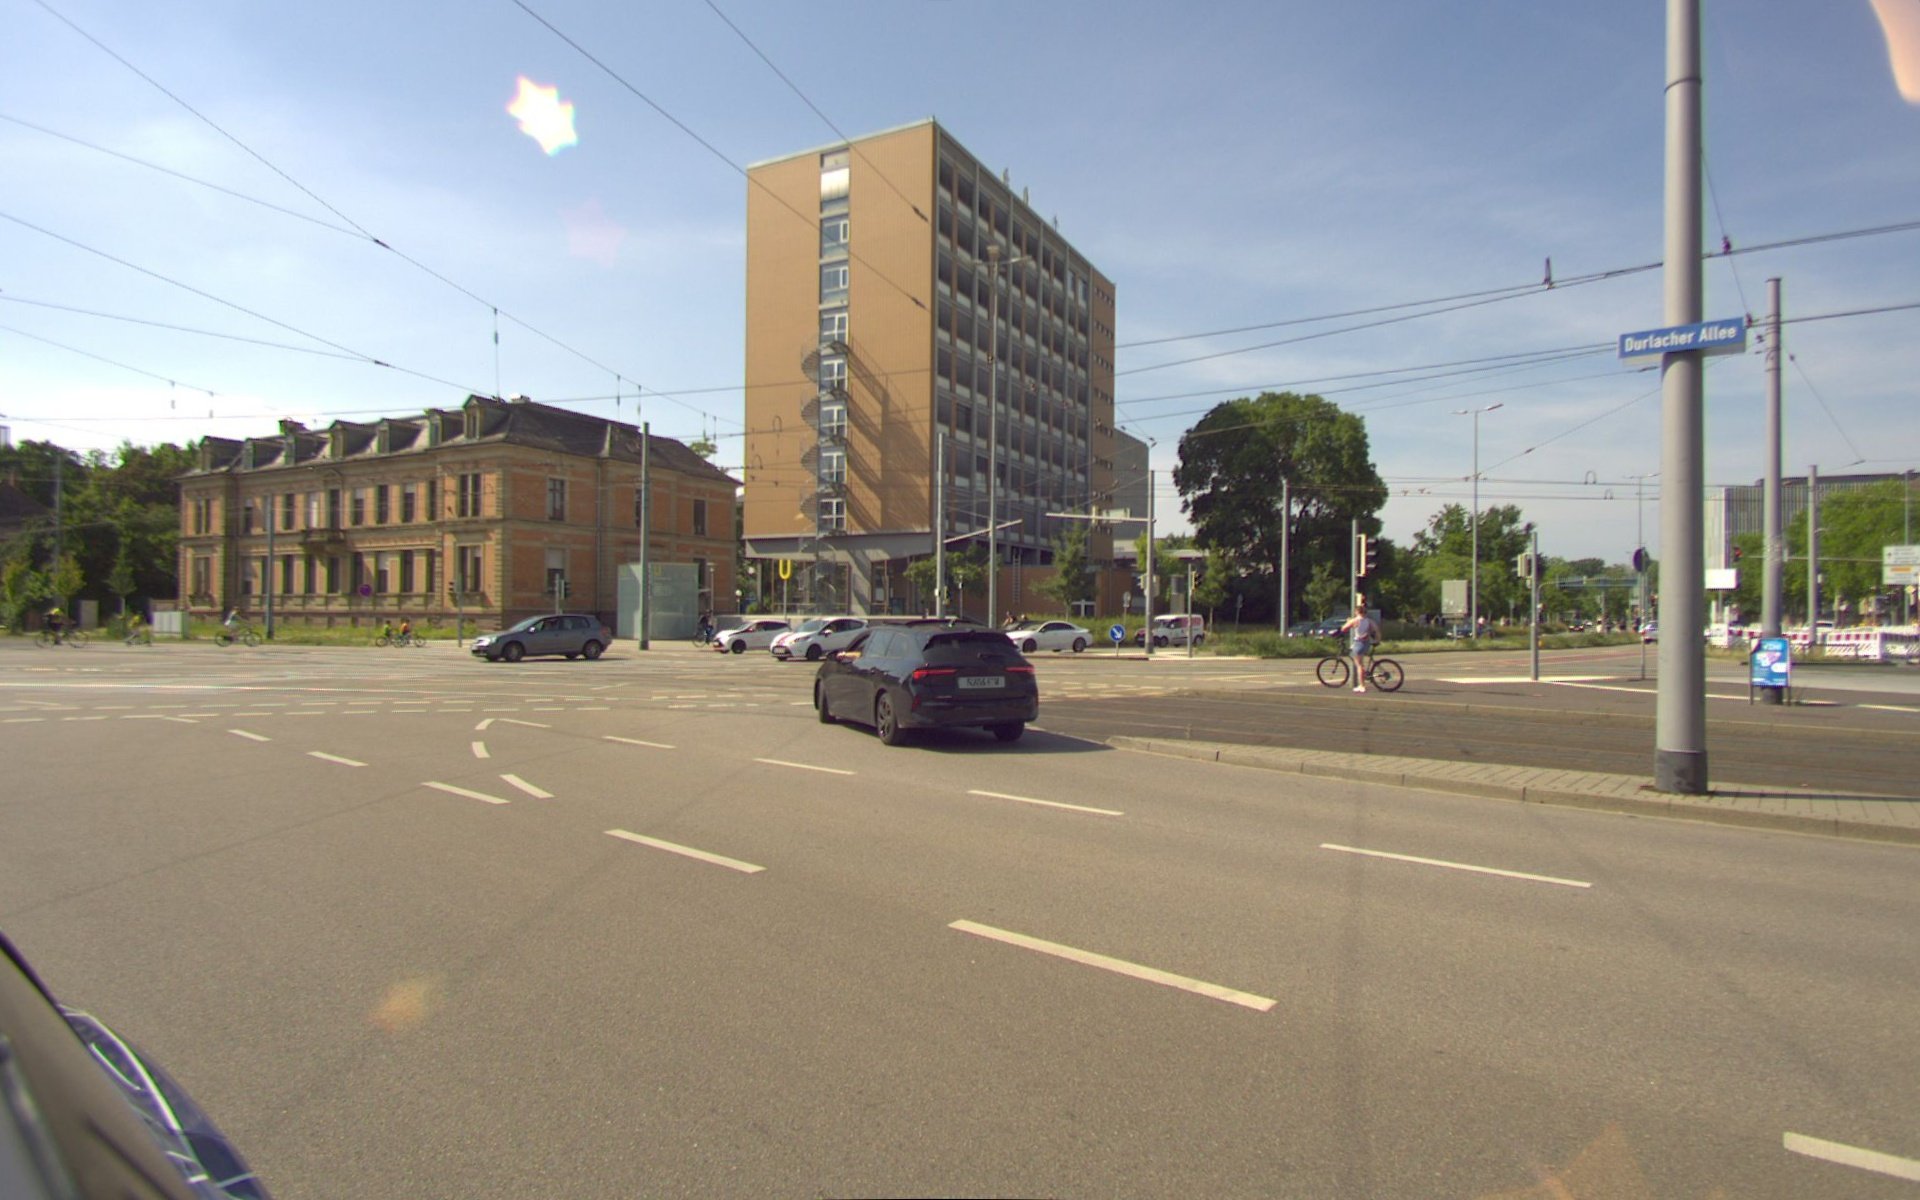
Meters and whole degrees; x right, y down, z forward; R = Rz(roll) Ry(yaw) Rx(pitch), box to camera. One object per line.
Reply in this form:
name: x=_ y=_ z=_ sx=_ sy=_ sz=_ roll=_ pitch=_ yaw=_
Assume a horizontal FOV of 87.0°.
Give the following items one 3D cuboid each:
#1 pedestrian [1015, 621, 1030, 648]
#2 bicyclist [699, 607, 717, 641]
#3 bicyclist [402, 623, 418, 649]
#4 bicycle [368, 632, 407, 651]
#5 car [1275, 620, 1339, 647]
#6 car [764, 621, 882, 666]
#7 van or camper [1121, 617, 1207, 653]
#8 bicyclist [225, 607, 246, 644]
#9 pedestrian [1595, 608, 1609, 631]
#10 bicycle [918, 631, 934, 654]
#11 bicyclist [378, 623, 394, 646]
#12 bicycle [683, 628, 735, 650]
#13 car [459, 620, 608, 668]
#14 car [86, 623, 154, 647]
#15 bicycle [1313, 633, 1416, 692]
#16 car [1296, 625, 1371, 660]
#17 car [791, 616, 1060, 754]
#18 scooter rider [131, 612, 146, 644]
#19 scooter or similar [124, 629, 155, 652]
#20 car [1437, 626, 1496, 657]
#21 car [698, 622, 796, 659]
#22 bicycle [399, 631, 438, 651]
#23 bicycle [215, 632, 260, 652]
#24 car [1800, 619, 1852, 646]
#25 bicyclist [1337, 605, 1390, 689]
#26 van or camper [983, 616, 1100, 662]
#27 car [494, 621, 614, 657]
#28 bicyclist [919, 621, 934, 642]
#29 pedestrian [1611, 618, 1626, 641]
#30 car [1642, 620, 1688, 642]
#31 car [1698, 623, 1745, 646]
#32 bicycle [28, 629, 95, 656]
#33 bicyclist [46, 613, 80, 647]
pedestrian: x=4.009 y=2.216 z=64.872 sx=0.719 sy=1.676 sz=0.595 roll=0 pitch=0 yaw=-32
bicyclist: x=-12.208 y=1.140 z=48.978 sx=0.770 sy=1.636 sz=0.670 roll=0 pitch=0 yaw=-8
bicyclist: x=-25.846 y=1.705 z=47.536 sx=0.593 sy=1.206 sz=0.521 roll=1 pitch=-1 yaw=-35
bicycle: x=-27.051 y=1.979 z=47.856 sx=1.560 sy=0.872 sz=0.503 roll=1 pitch=-4 yaw=-34
car: x=21.523 y=2.057 z=62.716 sx=3.935 sy=1.630 sz=1.914 roll=1 pitch=-1 yaw=-38
car: x=-4.512 y=1.411 z=33.680 sx=1.654 sy=1.425 sz=3.812 roll=-1 pitch=-2 yaw=39
van or camper: x=11.264 y=1.911 z=55.722 sx=4.840 sy=1.902 sz=1.735 roll=1 pitch=-1 yaw=-35
bicyclist: x=-32.211 y=1.145 z=45.000 sx=0.638 sy=1.633 sz=0.503 roll=1 pitch=-4 yaw=-27
pedestrian: x=47.291 y=1.454 z=74.536 sx=0.739 sy=1.686 sz=0.543 roll=1 pitch=-2 yaw=-32
bicycle: x=-1.699 y=2.140 z=51.177 sx=0.707 sy=1.023 sz=1.918 roll=0 pitch=1 yaw=1
bicyclist: x=-27.127 y=1.637 z=47.821 sx=0.595 sy=1.037 sz=0.503 roll=1 pitch=-4 yaw=-34
bicycle: x=-12.169 y=1.887 z=49.136 sx=2.424 sy=1.077 sz=0.670 roll=0 pitch=-1 yaw=-9
car: x=-13.491 y=1.349 z=32.151 sx=4.059 sy=1.435 sz=1.653 roll=1 pitch=-2 yaw=-44
car: x=-47.043 y=1.930 z=56.669 sx=3.432 sy=1.323 sz=1.658 roll=0 pitch=-1 yaw=25
bicycle: x=8.447 y=1.280 z=21.164 sx=0.740 sy=1.092 sz=1.851 roll=1 pitch=0 yaw=-42
car: x=20.297 y=2.268 z=54.958 sx=3.935 sy=1.807 sz=1.969 roll=1 pitch=-1 yaw=-37
car: x=-0.648 y=0.982 z=13.194 sx=1.729 sy=1.467 sz=4.437 roll=2 pitch=-2 yaw=-28
scooter rider: x=-36.144 y=1.227 z=44.531 sx=0.400 sy=1.408 sz=0.590 roll=0 pitch=-3 yaw=-32
scooter or similar: x=-36.100 y=1.793 z=44.533 sx=0.975 sy=0.983 sz=0.590 roll=0 pitch=-3 yaw=-32
car: x=32.405 y=2.632 z=64.677 sx=4.362 sy=1.896 sz=2.002 roll=1 pitch=-2 yaw=-43
car: x=-8.956 y=1.689 z=42.645 sx=3.697 sy=1.486 sz=1.687 roll=1 pitch=-1 yaw=-33
bicycle: x=-25.571 y=1.943 z=47.766 sx=1.549 sy=0.892 sz=0.521 roll=2 pitch=-2 yaw=-36
bicycle: x=-32.100 y=1.885 z=45.003 sx=1.560 sy=0.872 sz=0.503 roll=1 pitch=-3 yaw=-27
car: x=49.888 y=1.853 z=58.287 sx=3.940 sy=1.431 sz=1.805 roll=1 pitch=-3 yaw=-44
bicyclist: x=8.446 y=0.967 z=21.186 sx=0.740 sy=1.697 sz=0.777 roll=1 pitch=0 yaw=-43
van or camper: x=3.557 y=1.649 z=43.941 sx=4.838 sy=1.902 sz=1.926 roll=1 pitch=-2 yaw=-30
car: x=-17.094 y=1.628 z=42.745 sx=4.456 sy=1.446 sz=1.639 roll=0 pitch=-1 yaw=-9
bicyclist: x=-1.697 y=1.586 z=51.214 sx=0.707 sy=1.036 sz=0.916 roll=0 pitch=1 yaw=1
pedestrian: x=48.182 y=2.132 z=74.078 sx=0.739 sy=1.686 sz=0.646 roll=1 pitch=-1 yaw=-31
car: x=44.304 y=1.965 z=63.571 sx=3.940 sy=1.296 sz=1.601 roll=1 pitch=-3 yaw=-44
car: x=45.697 y=2.074 z=60.718 sx=3.940 sy=1.296 sz=1.601 roll=1 pitch=-3 yaw=-44
bicycle: x=-37.929 y=1.803 z=42.751 sx=1.991 sy=1.077 sz=0.687 roll=0 pitch=-3 yaw=-22
bicyclist: x=-37.912 y=1.278 z=42.795 sx=0.894 sy=1.431 sz=0.687 roll=0 pitch=-3 yaw=-22
